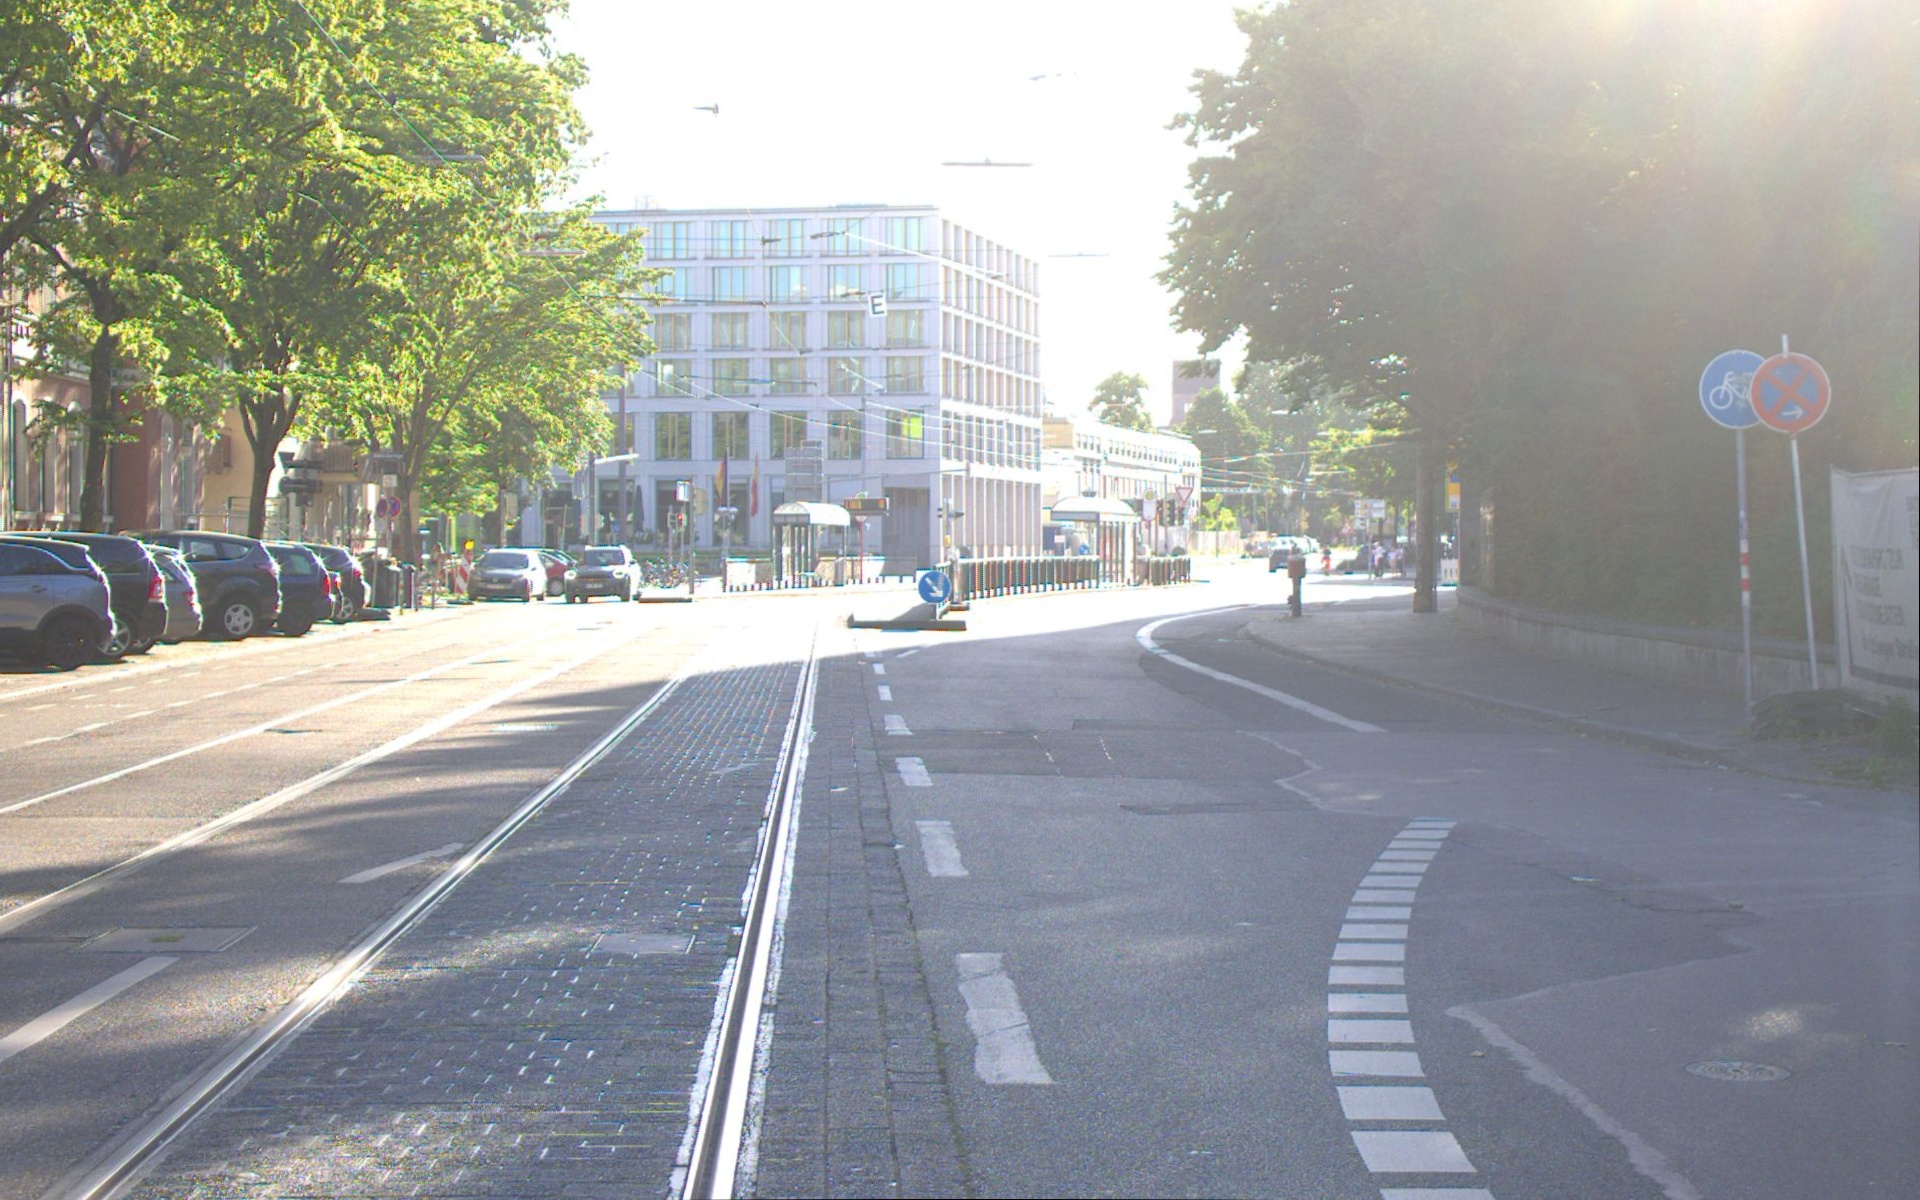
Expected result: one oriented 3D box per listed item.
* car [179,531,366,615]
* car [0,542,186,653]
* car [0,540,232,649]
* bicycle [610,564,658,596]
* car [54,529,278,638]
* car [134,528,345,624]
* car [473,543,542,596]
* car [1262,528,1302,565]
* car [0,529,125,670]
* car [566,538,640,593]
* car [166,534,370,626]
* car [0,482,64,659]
[{"bbox_3d":[-13.152,-0.525,65.755,3.270,1.579,1.470,0,1,-24],"label":"car"},{"bbox_3d":[-11.983,-0.042,44.972,3.373,1.415,1.405,0,1,-29],"label":"car"},{"bbox_3d":[-11.915,-0.098,47.835,3.270,1.479,1.470,0,1,-24],"label":"car"},{"bbox_3d":[-12.519,-0.764,132.186,1.793,1.219,0.599,0,1,-10],"label":"bicycle"},{"bbox_3d":[-12.675,-0.282,54.886,3.270,1.692,1.470,0,1,-24],"label":"car"},{"bbox_3d":[-12.226,-0.420,58.366,3.270,1.579,1.470,0,1,-24],"label":"car"},{"bbox_3d":[-12.941,-0.902,98.535,1.572,1.485,4.000,0,1,-2],"label":"car"},{"bbox_3d":[17.929,-2.972,191.334,1.994,2.007,3.999,0,1,9],"label":"car"},{"bbox_3d":[-12.046,-0.017,41.928,3.373,1.692,1.405,0,1,-29],"label":"car"},{"bbox_3d":[-10.178,-0.999,98.294,1.558,1.525,4.000,0,1,2],"label":"car"},{"bbox_3d":[-12.169,-0.371,60.479,3.270,1.579,1.470,0,1,-24],"label":"car"},{"bbox_3d":[-13.393,-0.366,41.936,4.436,2.110,2.164,0,1,-4],"label":"car"}]
